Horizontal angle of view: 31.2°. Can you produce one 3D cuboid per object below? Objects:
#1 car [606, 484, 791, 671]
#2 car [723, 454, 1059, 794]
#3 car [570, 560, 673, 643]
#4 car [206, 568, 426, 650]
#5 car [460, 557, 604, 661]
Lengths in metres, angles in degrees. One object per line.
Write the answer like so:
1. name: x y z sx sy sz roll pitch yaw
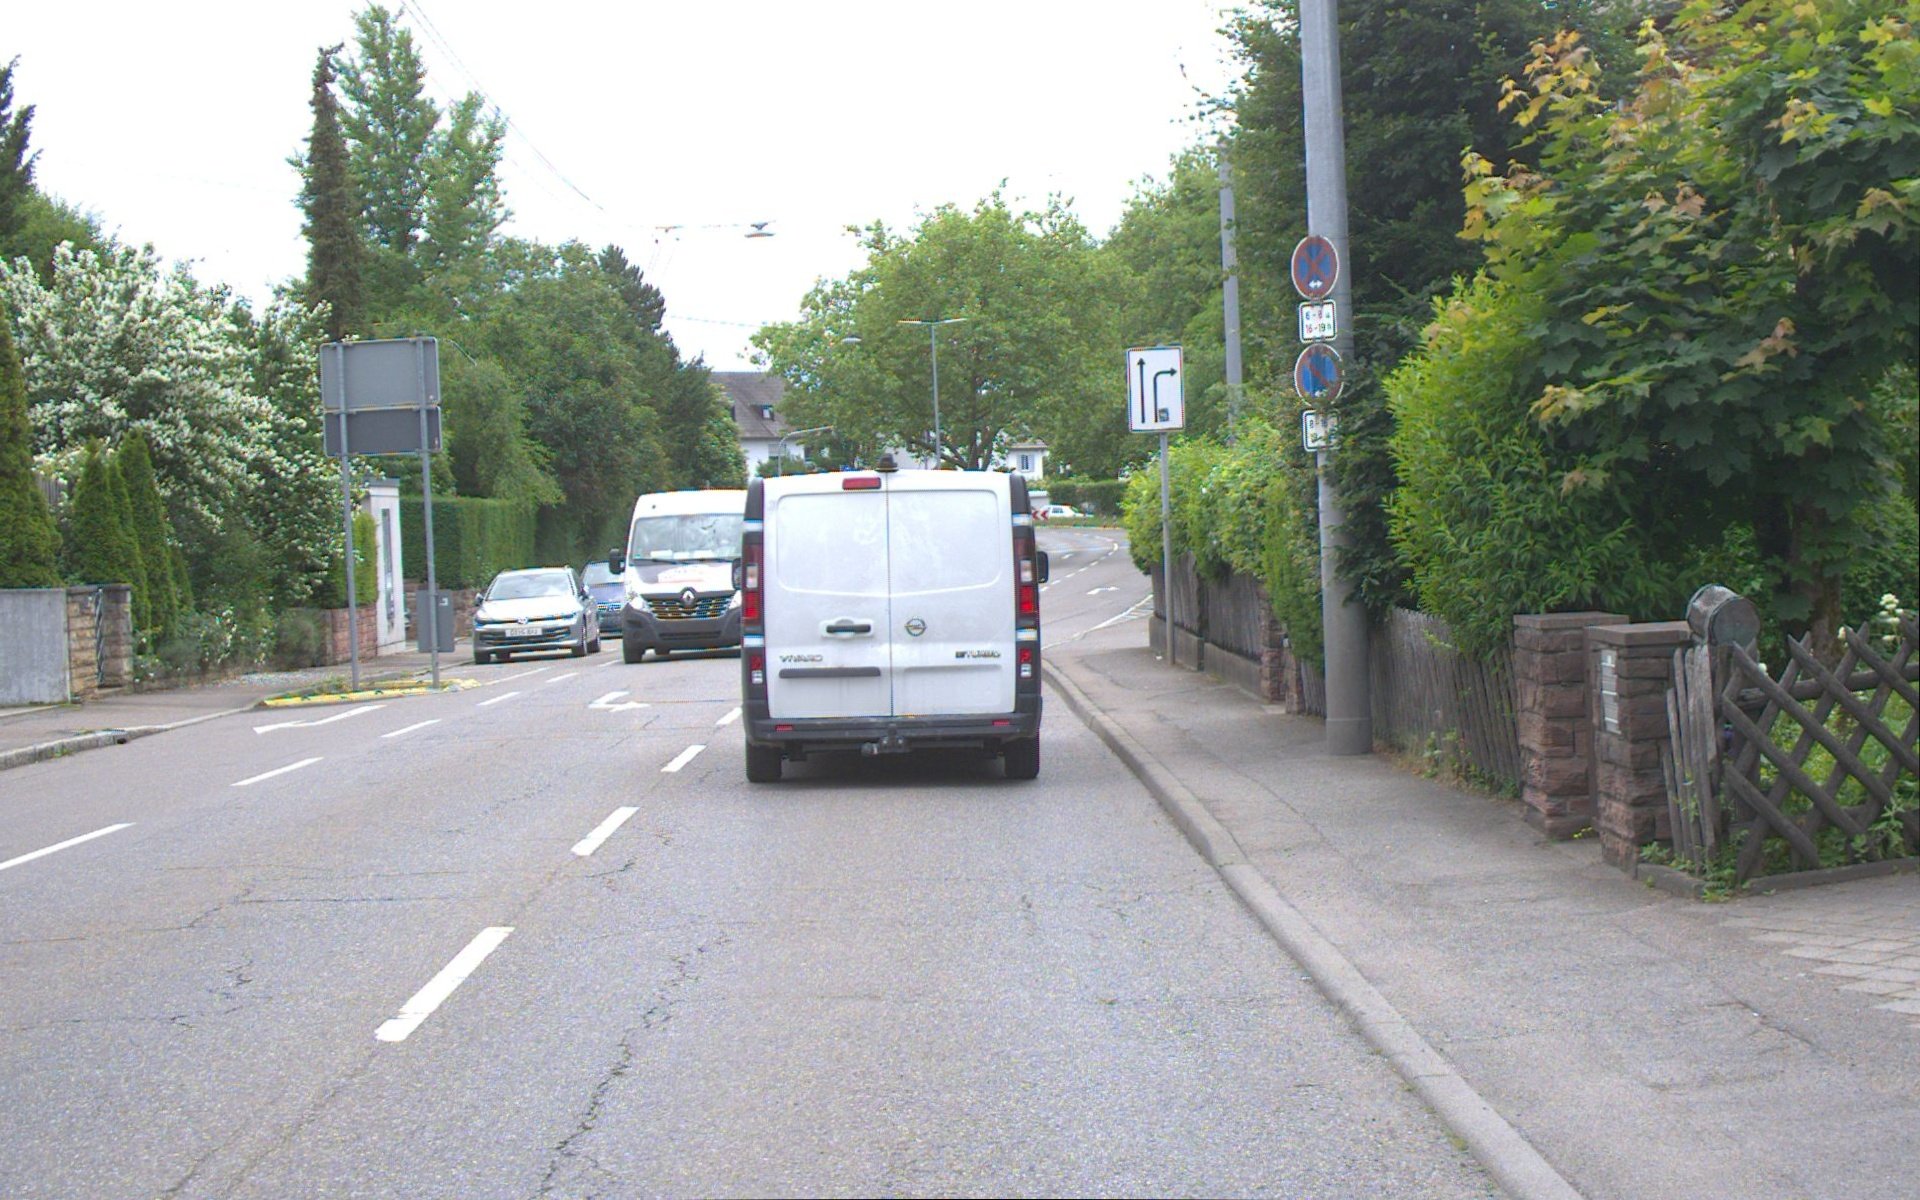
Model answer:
1. car: -3.739 -0.334 50.196 2.111 2.490 6.124 -2 0 0
2. car: -0.474 0.092 23.073 2.006 2.031 5.010 0 1 -1
3. car: -6.928 0.014 70.707 1.678 1.551 3.972 -4 1 -1
4. car: -12.050 0.159 64.454 3.589 1.386 1.849 -2 1 9
5. car: -6.894 0.114 55.762 1.809 1.450 4.414 -4 1 -2
